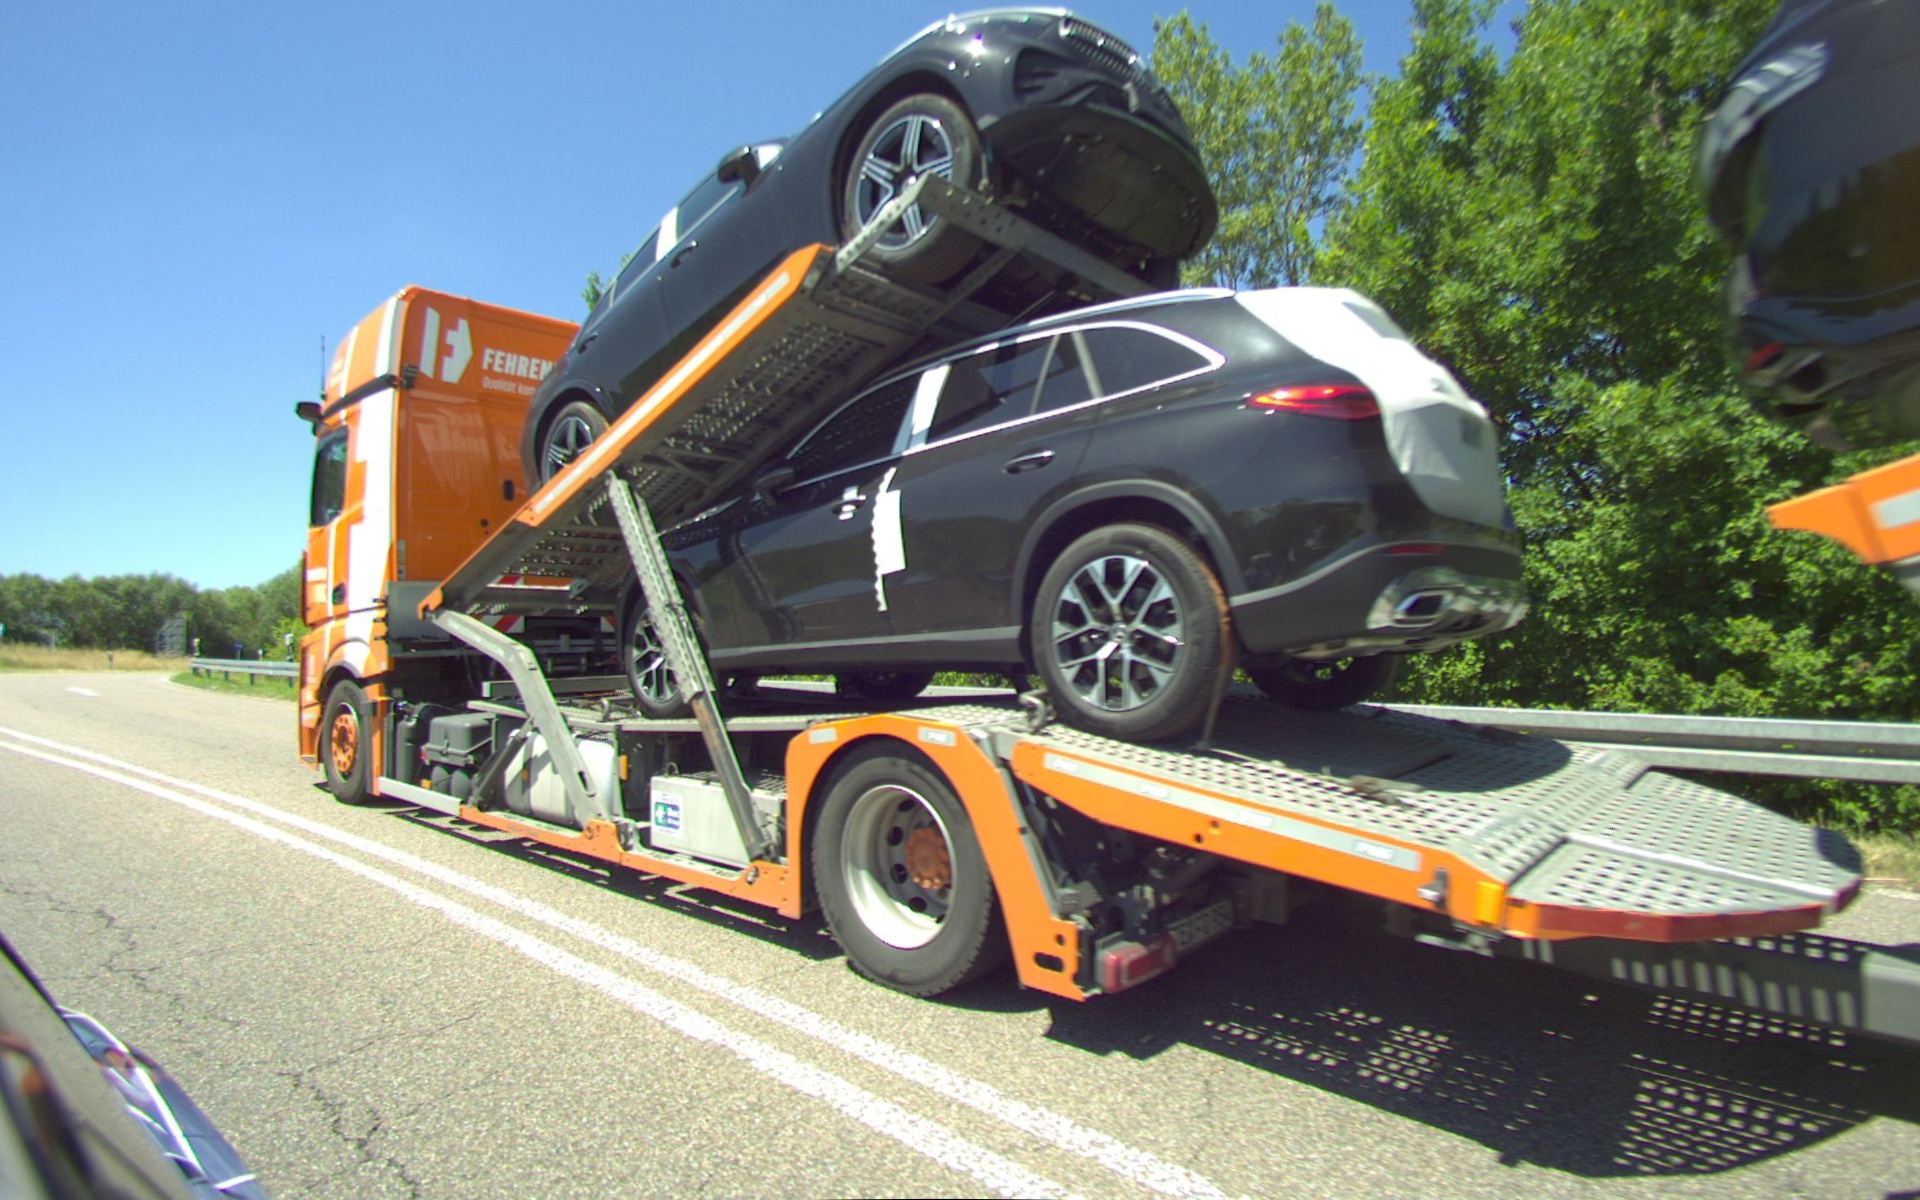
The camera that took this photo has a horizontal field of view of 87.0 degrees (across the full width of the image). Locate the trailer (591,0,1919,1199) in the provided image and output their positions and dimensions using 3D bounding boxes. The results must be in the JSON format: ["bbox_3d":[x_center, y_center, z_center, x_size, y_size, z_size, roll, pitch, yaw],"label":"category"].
[{"bbox_3d":[3.818,-0.649,1.179,2.759,3.928,14.001,-1,-1,-43],"label":"trailer"}]

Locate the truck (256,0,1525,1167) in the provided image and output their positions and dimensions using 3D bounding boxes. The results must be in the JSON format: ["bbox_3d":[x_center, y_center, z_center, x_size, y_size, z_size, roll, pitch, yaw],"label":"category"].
[{"bbox_3d":[-1.661,-0.511,6.474,8.778,3.928,2.760,-1,-1,42],"label":"truck"}]
